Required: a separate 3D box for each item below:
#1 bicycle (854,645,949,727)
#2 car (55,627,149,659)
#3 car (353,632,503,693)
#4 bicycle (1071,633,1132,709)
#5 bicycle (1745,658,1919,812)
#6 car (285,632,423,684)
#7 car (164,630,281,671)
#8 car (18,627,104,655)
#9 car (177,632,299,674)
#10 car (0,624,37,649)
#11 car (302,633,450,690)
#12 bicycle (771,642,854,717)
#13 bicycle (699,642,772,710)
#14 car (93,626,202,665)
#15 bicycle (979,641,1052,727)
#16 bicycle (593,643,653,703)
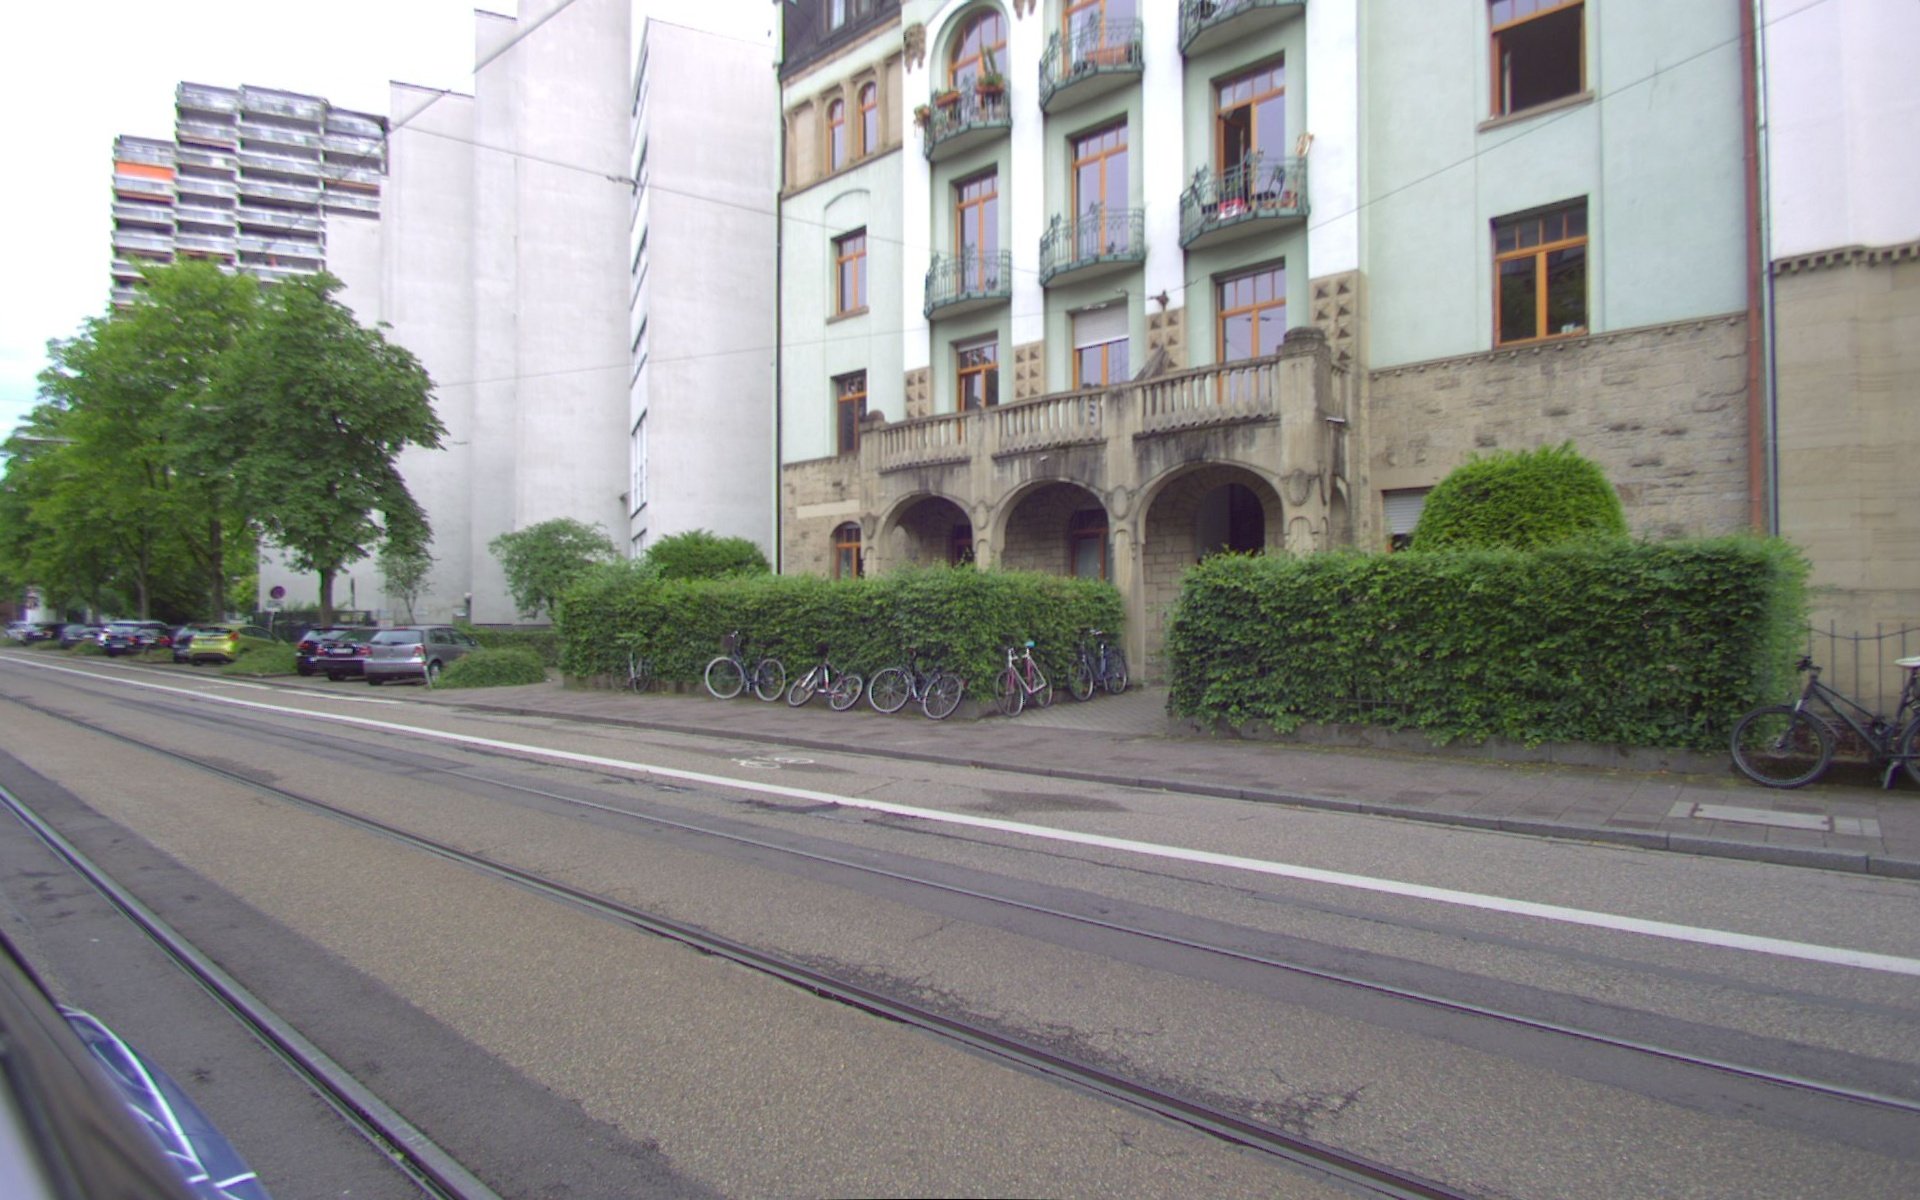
[{"bbox_3d":[-0.843,1.192,14.336,1.546,1.092,0.356,-1,-2,41],"label":"bicycle"},{"bbox_3d":[-45.418,2.240,53.680,1.670,1.632,4.002,0,-2,-3],"label":"car"},{"bbox_3d":[-13.437,1.544,25.852,1.672,1.414,3.998,0,-2,1],"label":"car"},{"bbox_3d":[2.237,1.095,15.880,0.300,1.091,1.190,-2,0,42],"label":"bicycle"},{"bbox_3d":[6.947,1.006,7.663,1.546,1.092,0.356,-1,-2,41],"label":"bicycle"},{"bbox_3d":[-17.837,1.672,30.020,1.672,1.414,3.998,0,-2,1],"label":"car"},{"bbox_3d":[-27.952,1.869,38.525,1.670,1.453,4.002,0,-2,-3],"label":"car"},{"bbox_3d":[-53.080,2.405,59.839,1.670,1.632,4.002,0,-2,-3],"label":"car"},{"bbox_3d":[-25.798,1.873,36.351,1.670,1.405,4.002,0,-2,-3],"label":"car"},{"bbox_3d":[-61.539,2.354,65.780,3.996,1.632,1.673,-1,-2,39],"label":"car"},{"bbox_3d":[-15.765,1.608,27.573,1.672,1.414,3.998,0,-2,1],"label":"car"},{"bbox_3d":[-2.293,1.211,15.666,1.546,1.092,0.356,-1,-2,41],"label":"bicycle"},{"bbox_3d":[-3.806,1.256,17.097,1.546,1.092,0.356,-1,-2,41],"label":"bicycle"},{"bbox_3d":[-35.627,1.959,44.504,1.670,1.632,4.002,0,-2,-3],"label":"car"},{"bbox_3d":[0.789,1.160,14.203,0.300,1.091,1.190,-2,0,42],"label":"bicycle"},{"bbox_3d":[-6.480,1.375,19.411,1.546,1.092,0.356,-1,-2,41],"label":"bicycle"}]
